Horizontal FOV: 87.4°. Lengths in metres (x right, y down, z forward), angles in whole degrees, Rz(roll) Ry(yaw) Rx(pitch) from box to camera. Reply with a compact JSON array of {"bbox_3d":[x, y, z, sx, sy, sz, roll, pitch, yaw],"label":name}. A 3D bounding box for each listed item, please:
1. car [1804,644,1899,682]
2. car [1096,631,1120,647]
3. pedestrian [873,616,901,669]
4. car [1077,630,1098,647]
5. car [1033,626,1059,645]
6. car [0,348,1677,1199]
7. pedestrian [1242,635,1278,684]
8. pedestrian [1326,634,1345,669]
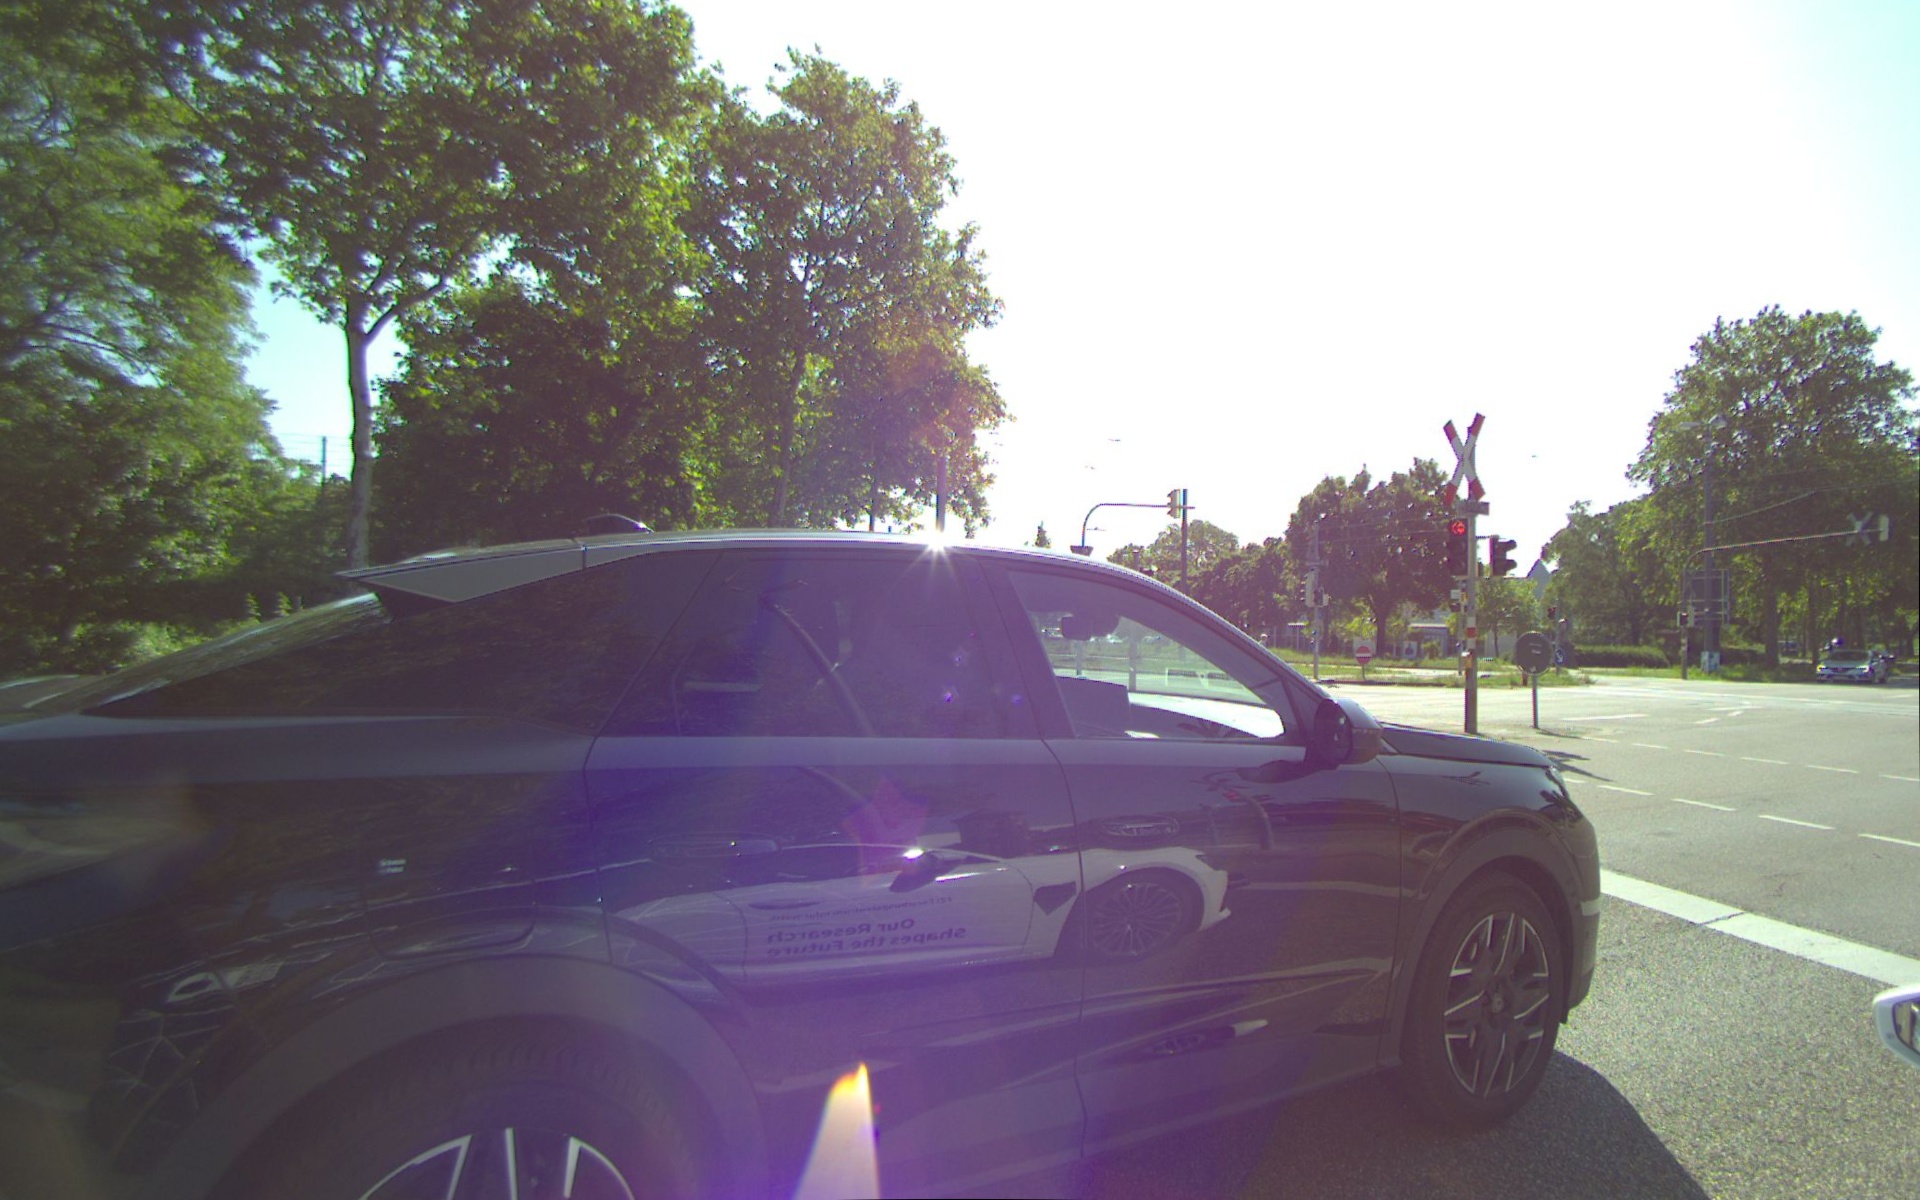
[{"bbox_3d":[38.369,2.675,43.208,4.606,1.528,1.686,2,-2,-30],"label":"car"},{"bbox_3d":[13.760,3.605,93.502,1.421,1.465,3.340,1,-2,-4],"label":"car"},{"bbox_3d":[-2.160,1.252,29.667,0.563,1.554,0.601,2,-2,-36],"label":"pedestrian"},{"bbox_3d":[11.827,3.578,93.254,1.323,1.465,3.340,1,-2,-4],"label":"car"},{"bbox_3d":[7.977,3.280,93.218,1.780,1.725,3.985,1,-2,-4],"label":"car"},{"bbox_3d":[-0.055,0.608,2.924,4.384,1.719,1.863,2,-1,-30],"label":"car"},{"bbox_3d":[9.487,1.860,31.753,0.855,1.520,0.697,1,-2,-15],"label":"pedestrian"},{"bbox_3d":[22.285,3.028,59.603,0.707,2.040,0.786,2,-2,-42],"label":"pedestrian"}]
